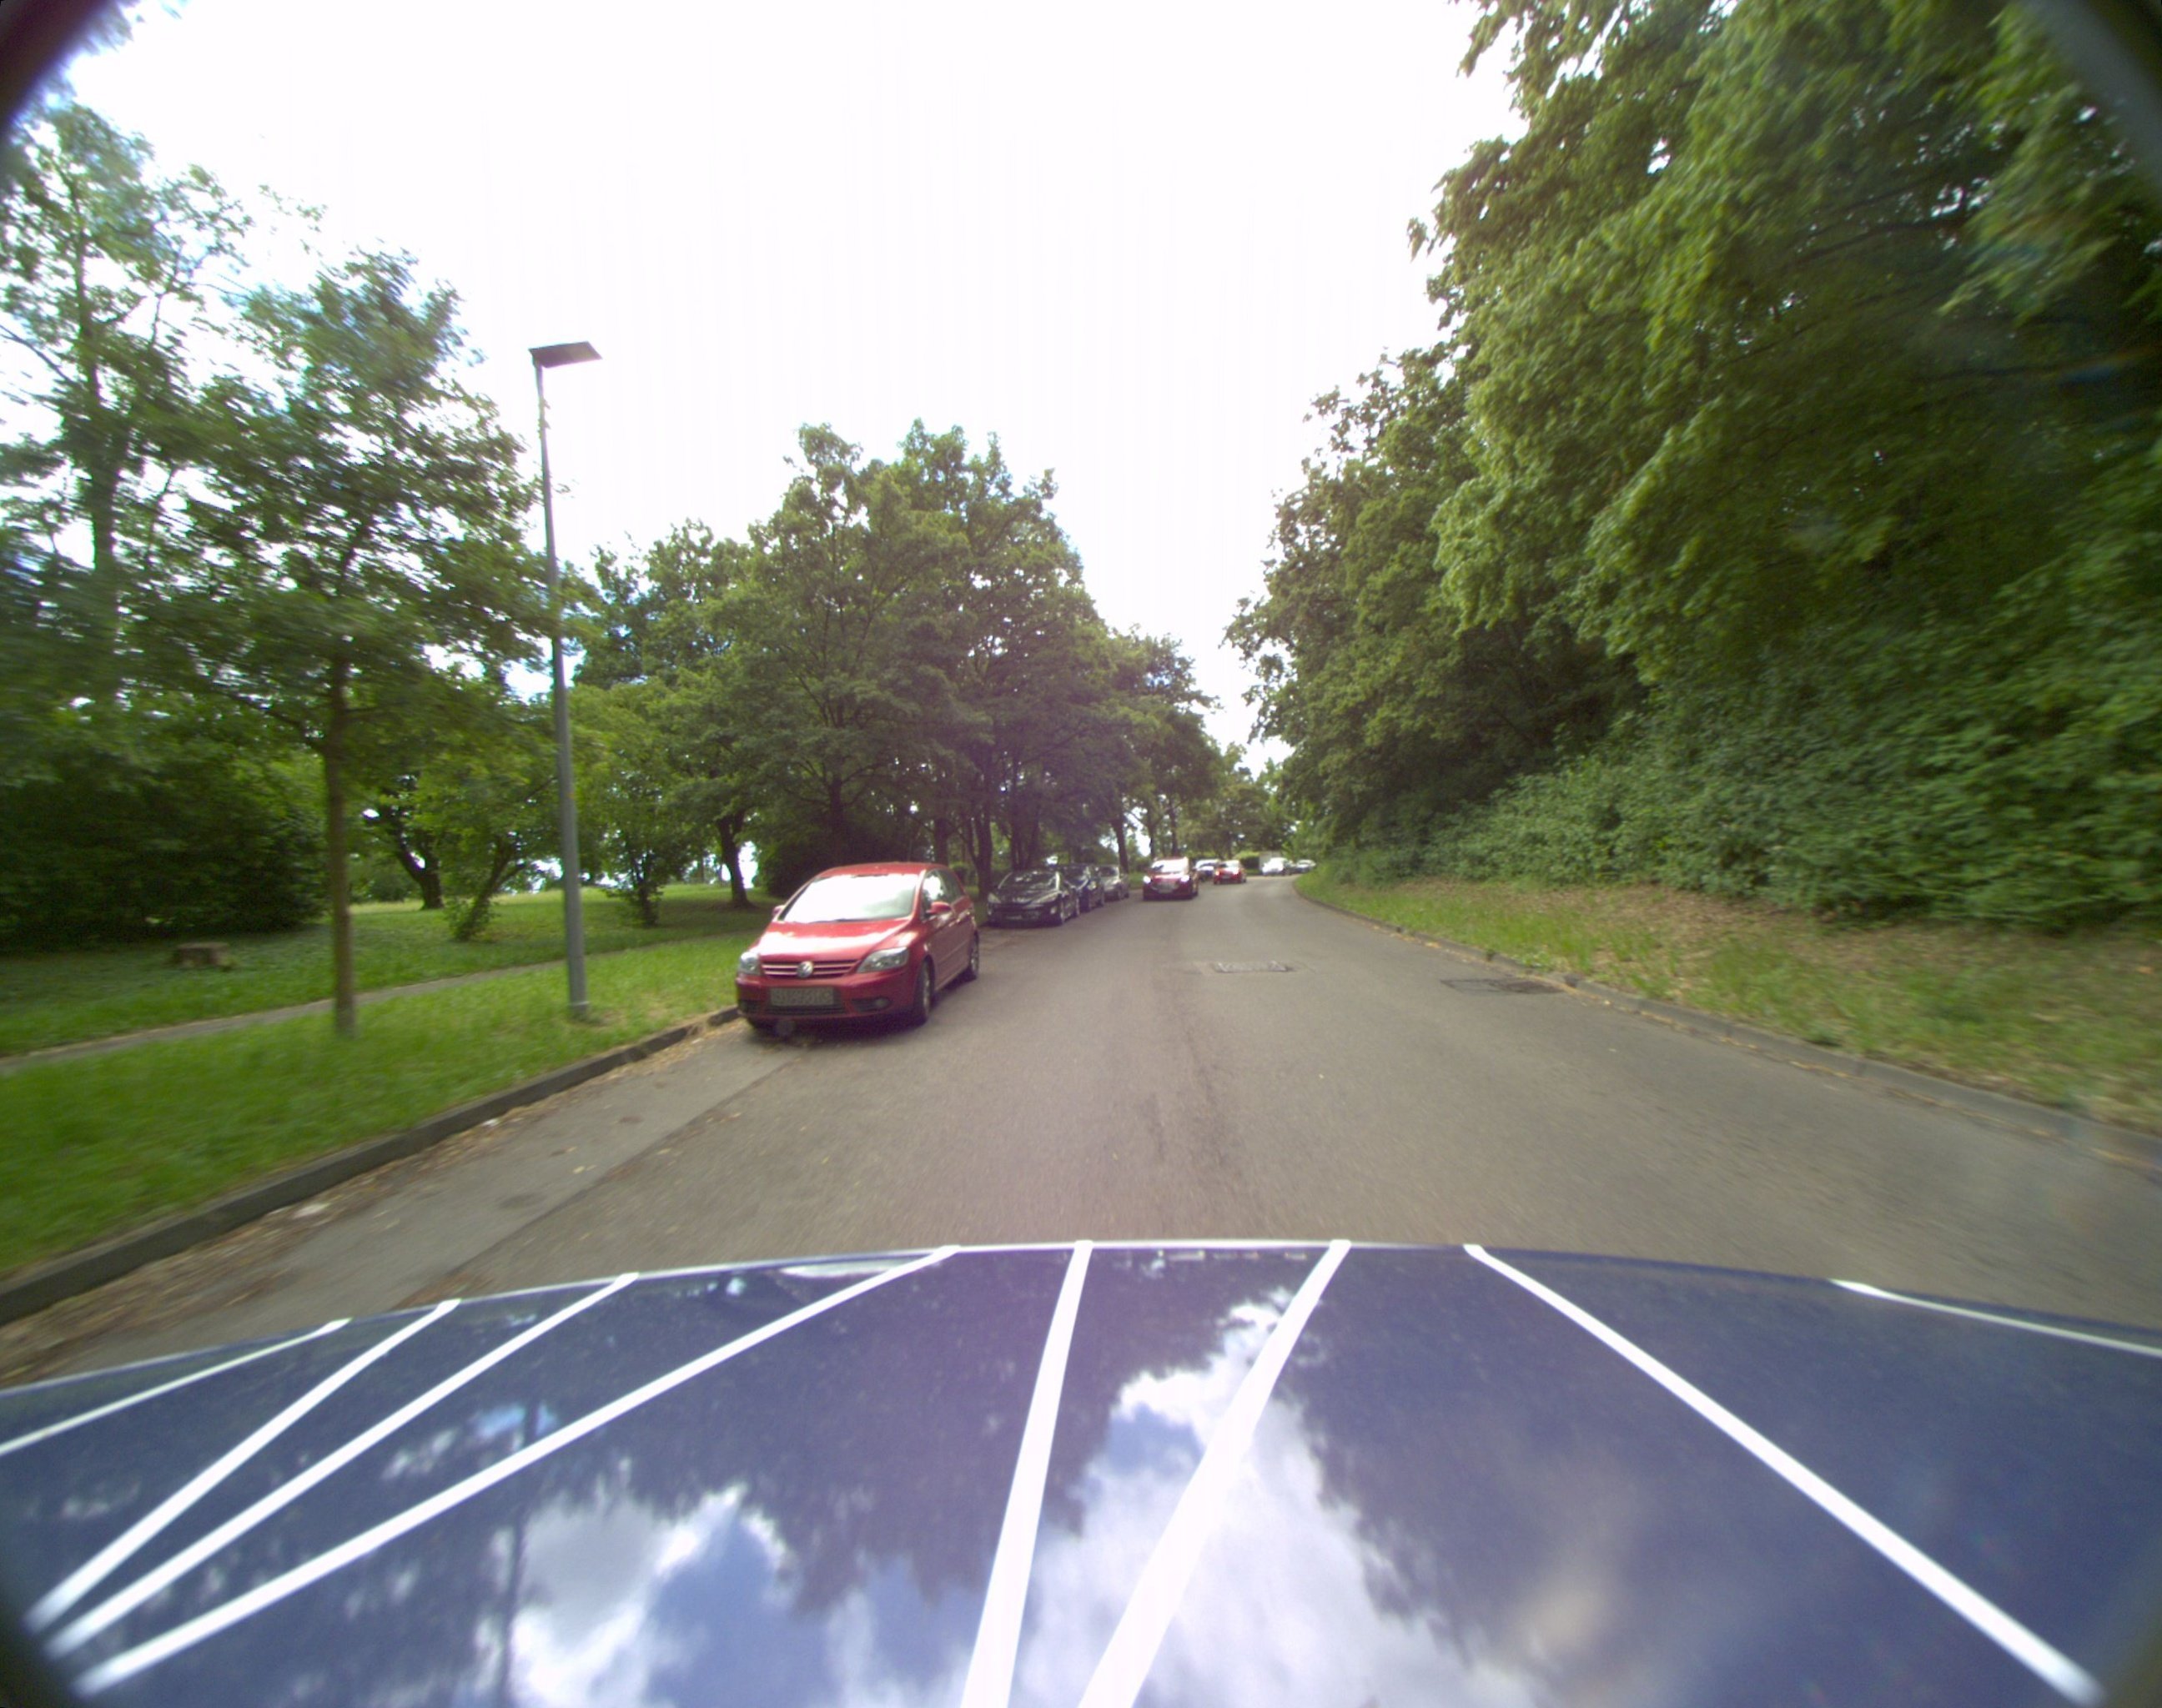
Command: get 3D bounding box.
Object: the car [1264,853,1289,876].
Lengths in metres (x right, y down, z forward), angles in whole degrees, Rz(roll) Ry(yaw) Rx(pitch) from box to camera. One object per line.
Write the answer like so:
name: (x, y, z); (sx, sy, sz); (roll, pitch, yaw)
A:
car: (17.107, 0.886, 66.656); (1.956, 1.829, 4.681); (-2, 1, 13)

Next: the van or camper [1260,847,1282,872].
van or camper: (19.185, 0.557, 77.023); (1.997, 2.330, 5.033); (-2, 1, 13)

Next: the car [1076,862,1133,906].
car: (1.033, 1.146, 30.592); (1.714, 1.413, 4.679); (-2, 1, 8)

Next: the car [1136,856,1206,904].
car: (3.684, 0.960, 30.245); (2.001, 1.599, 4.682); (-2, 1, 16)

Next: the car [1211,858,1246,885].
car: (9.315, 1.065, 47.620); (1.956, 1.464, 4.681); (-2, 1, 13)

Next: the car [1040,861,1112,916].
car: (-0.053, 1.075, 25.600); (1.714, 1.502, 4.679); (-2, 1, 8)

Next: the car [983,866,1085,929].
car: (-1.071, 1.048, 19.803); (1.714, 1.249, 4.679); (-2, 1, 8)

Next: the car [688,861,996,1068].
car: (-2.237, 0.943, 8.592); (1.714, 1.543, 4.677); (-2, 1, 3)
